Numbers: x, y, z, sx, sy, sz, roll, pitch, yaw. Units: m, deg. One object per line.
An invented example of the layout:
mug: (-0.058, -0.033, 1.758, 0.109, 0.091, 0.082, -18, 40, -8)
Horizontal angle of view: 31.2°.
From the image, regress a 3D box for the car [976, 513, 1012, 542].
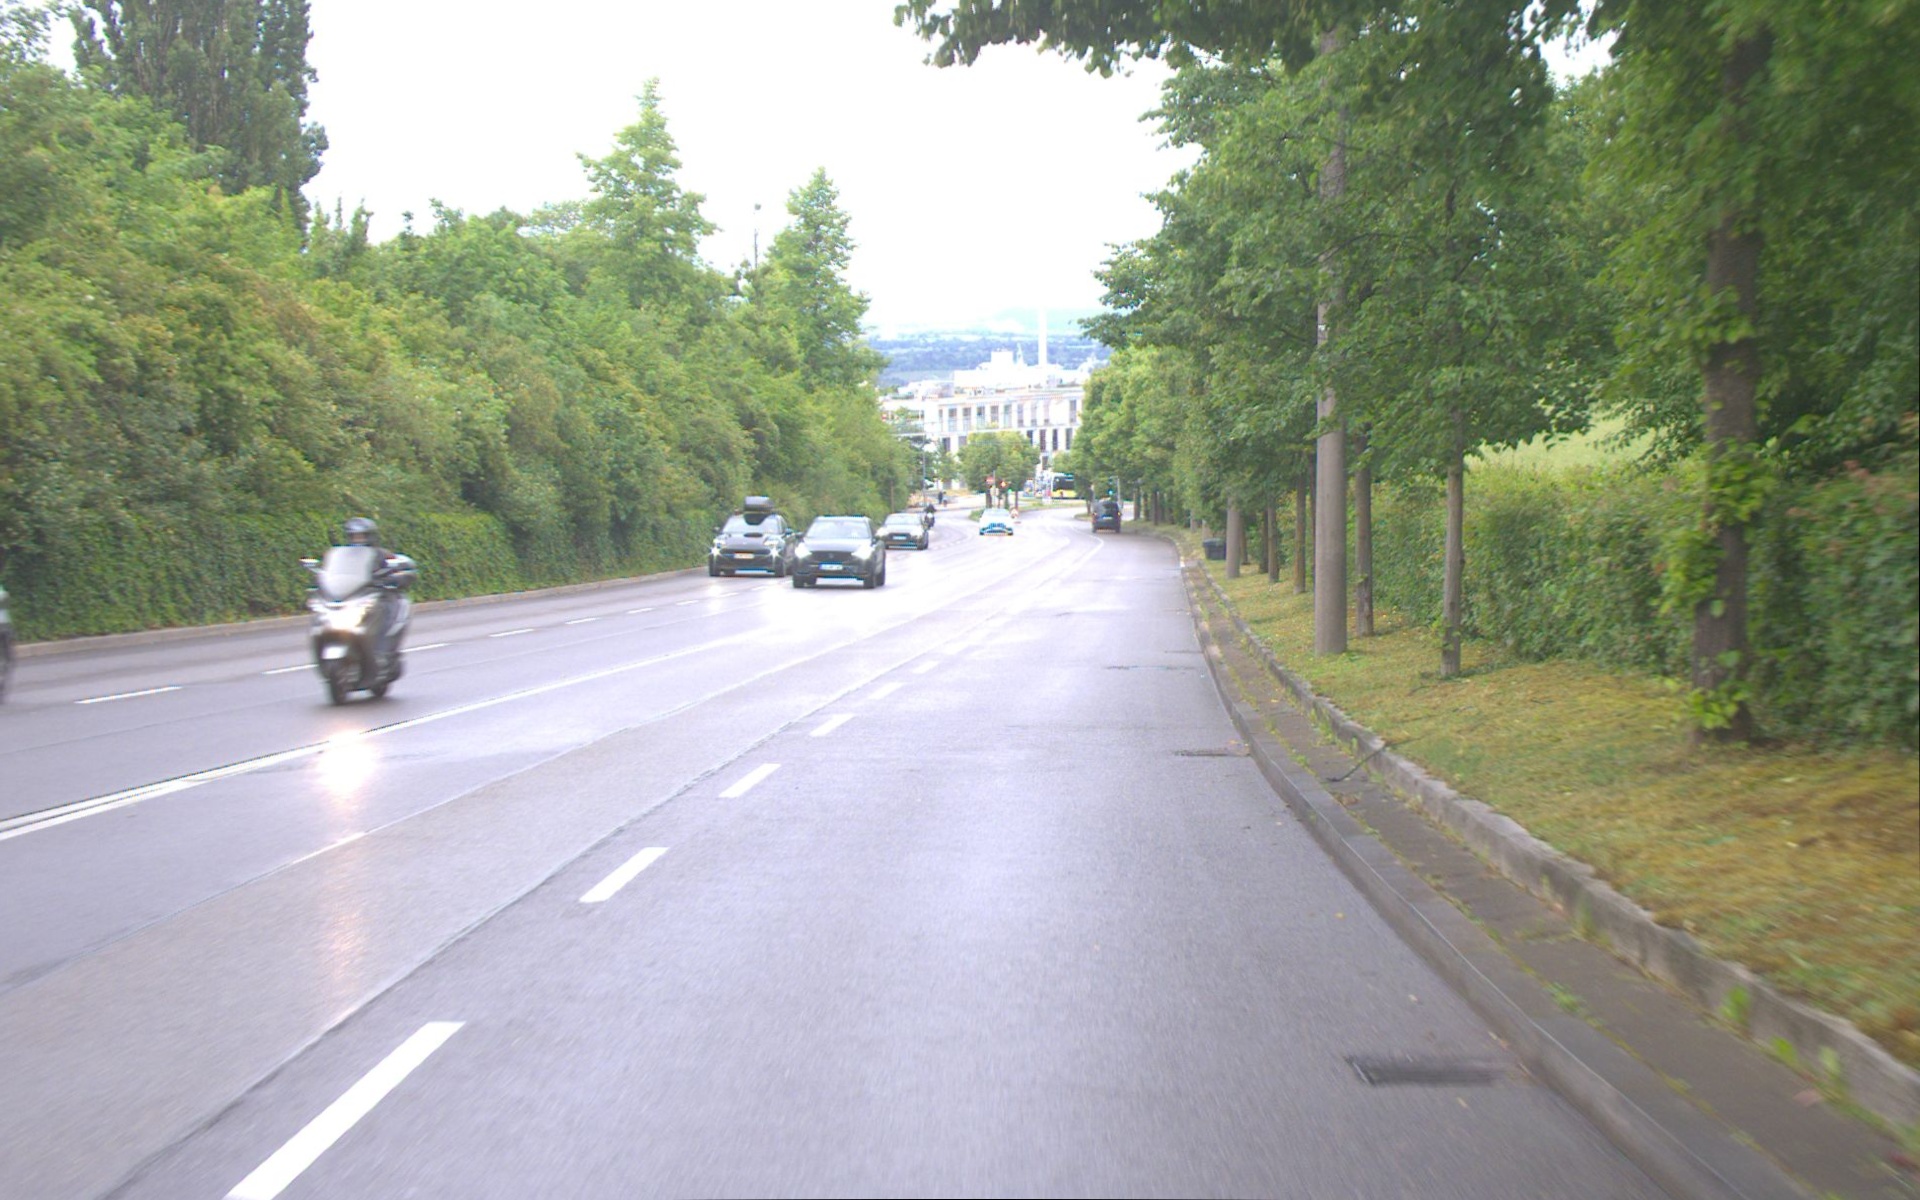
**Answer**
car: (1.917, -4.034, 189.952, 1.715, 1.500, 4.516, 2, 2, 4)

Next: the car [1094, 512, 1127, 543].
car: (9.053, -4.344, 206.025, 1.849, 1.696, 3.792, 2, 0, 4)

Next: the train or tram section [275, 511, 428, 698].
train or tram section: (-5.356, 0.022, 30.404, 0.791, 1.564, 2.384, 2, 1, 2)

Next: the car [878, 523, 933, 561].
car: (-2.141, -2.308, 136.209, 1.760, 1.376, 4.838, 2, 2, 3)

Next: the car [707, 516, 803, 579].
car: (-5.325, -1.379, 89.963, 1.899, 1.547, 4.630, 2, 1, 4)

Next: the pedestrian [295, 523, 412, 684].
pedestrian: (-5.357, 0.022, 30.407, 0.791, 1.379, 0.974, 2, 1, 2)

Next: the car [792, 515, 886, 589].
car: (-2.825, -1.148, 81.111, 1.812, 1.652, 4.595, 1, 1, 3)

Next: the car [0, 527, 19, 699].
car: (-8.808, 0.118, 27.193, 1.549, 1.432, 3.696, 1, 1, 3)
